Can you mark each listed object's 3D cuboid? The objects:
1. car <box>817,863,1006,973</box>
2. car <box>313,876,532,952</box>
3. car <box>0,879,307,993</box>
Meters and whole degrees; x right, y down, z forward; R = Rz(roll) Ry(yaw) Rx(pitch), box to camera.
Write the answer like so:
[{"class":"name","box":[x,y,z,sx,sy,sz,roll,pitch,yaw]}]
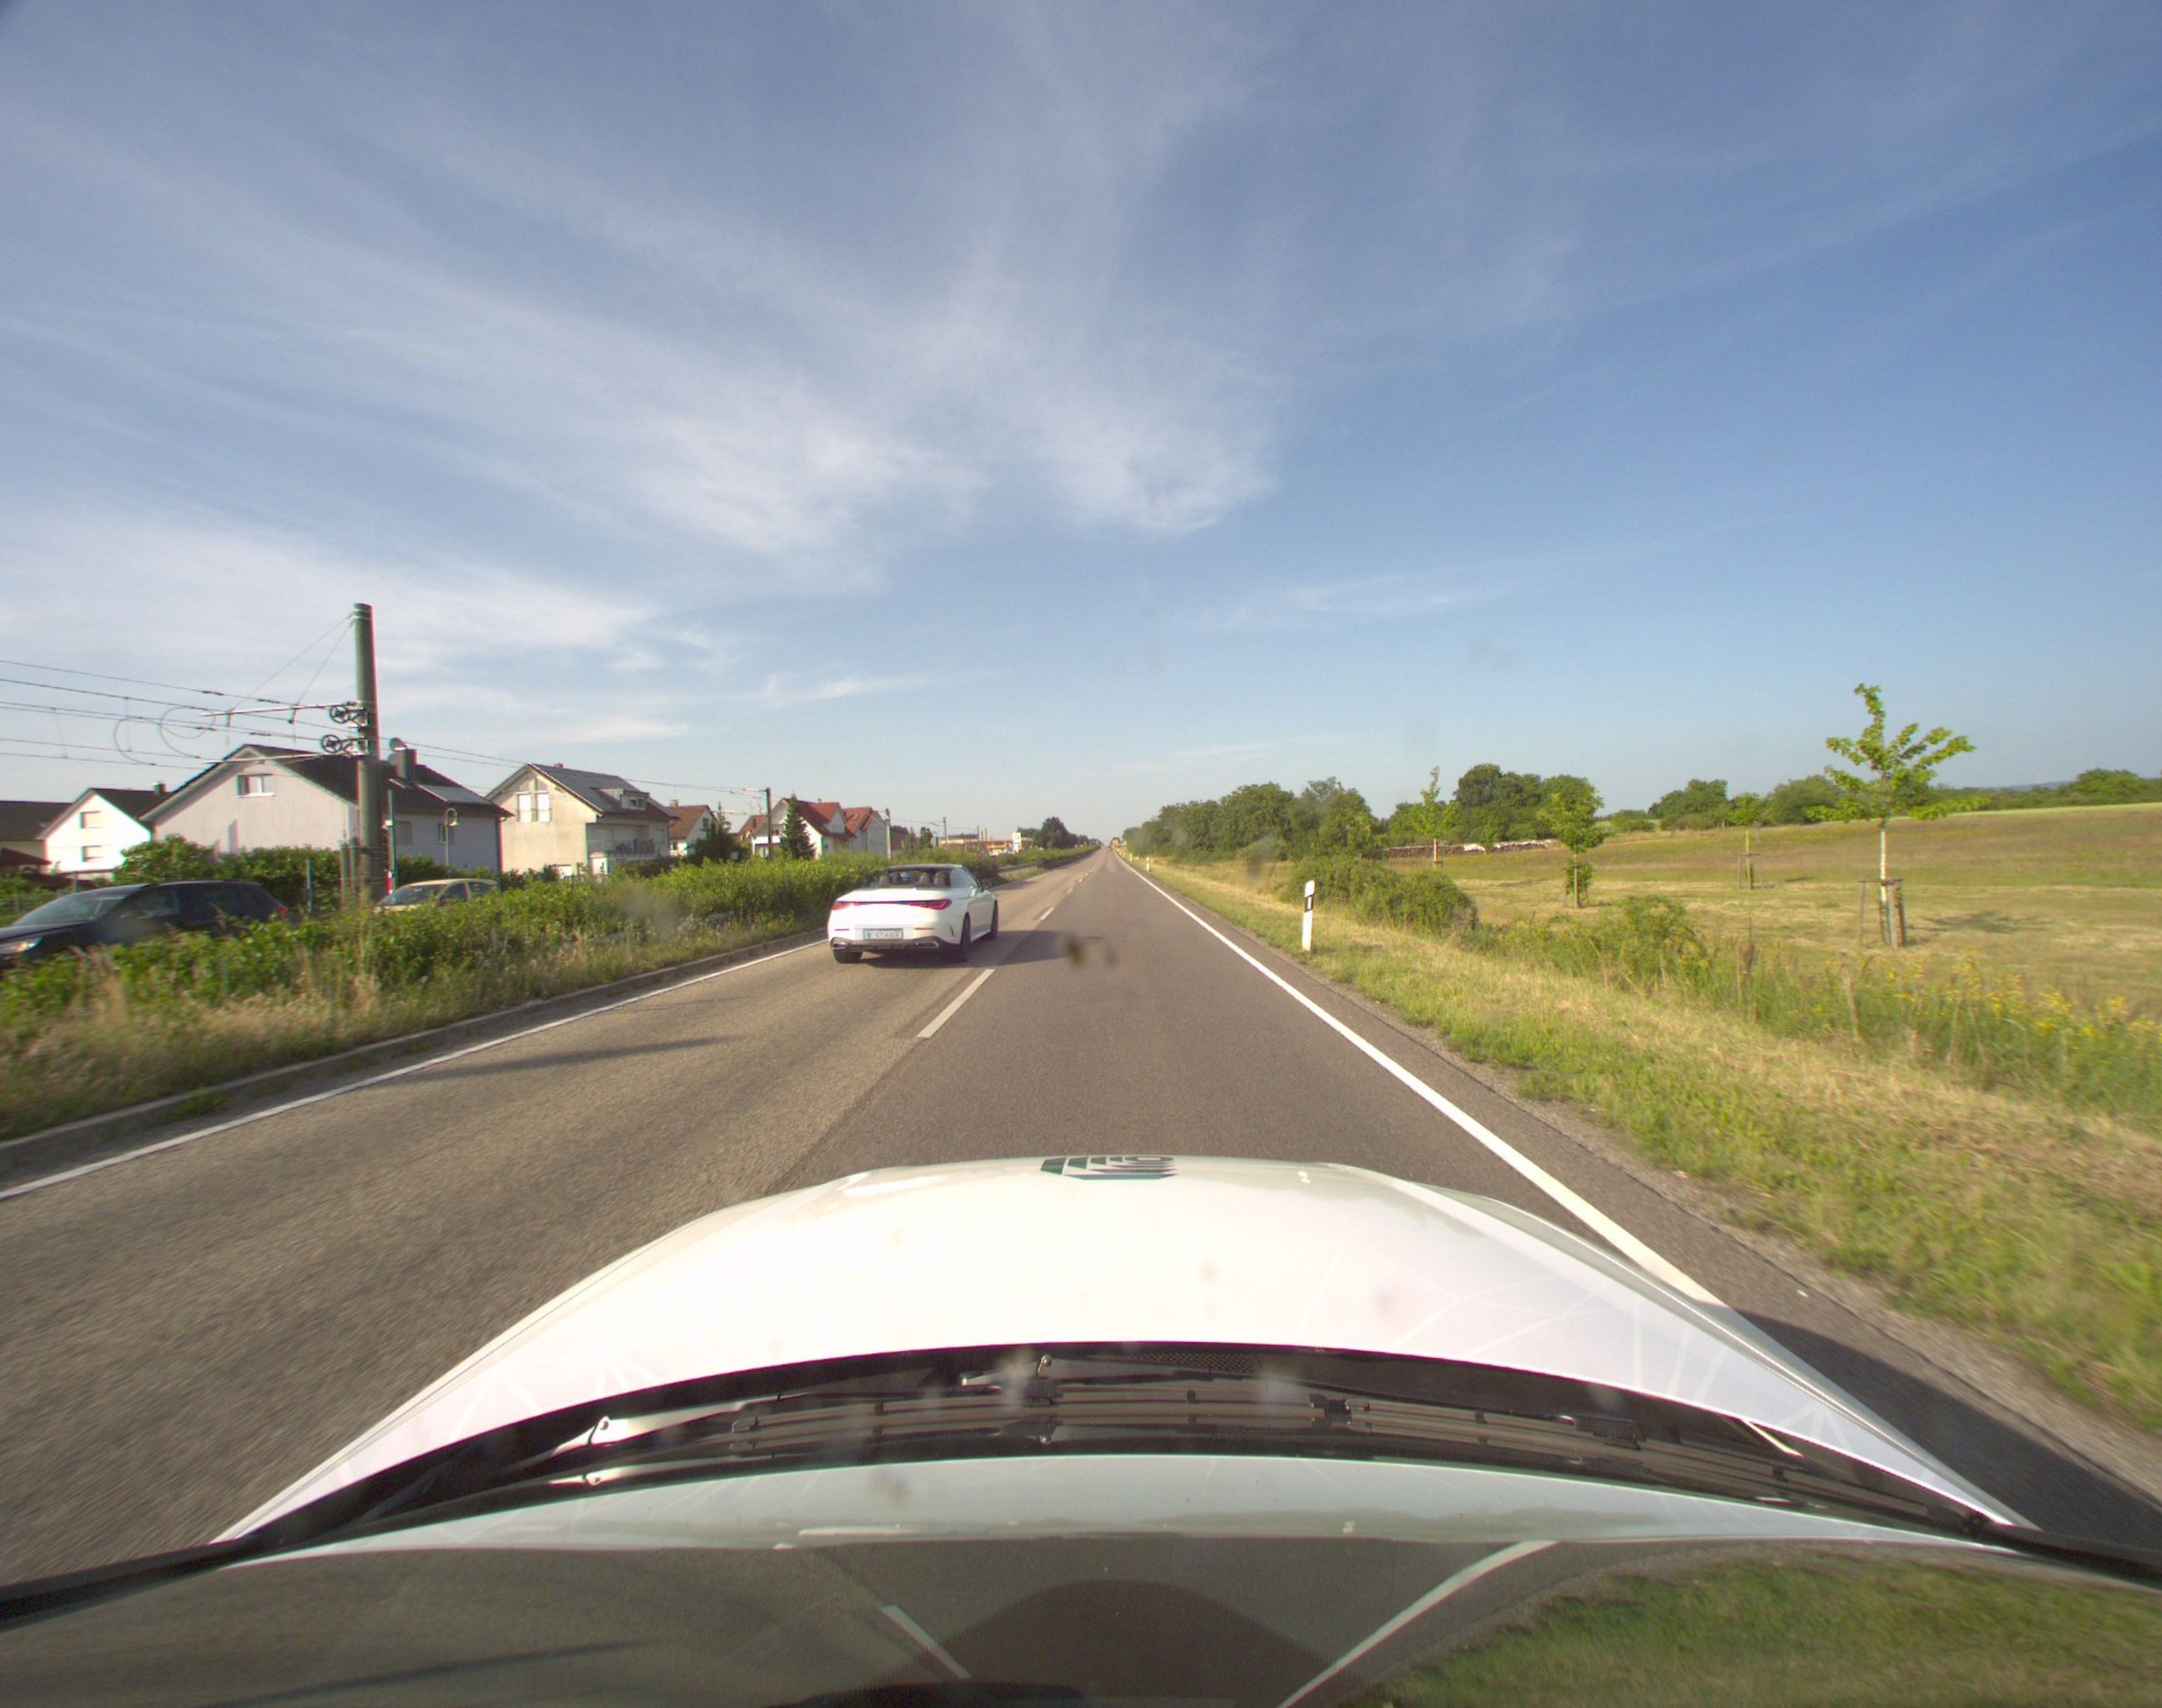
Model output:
[{"class":"car","box":[-2.397,0.843,12.878,1.764,1.337,4.953,0,0,2]},{"class":"car","box":[-15.746,1.358,19.834,1.654,1.431,4.328,-4,0,2]},{"class":"car","box":[-15.572,1.239,13.252,1.654,1.431,4.328,-4,0,2]}]
